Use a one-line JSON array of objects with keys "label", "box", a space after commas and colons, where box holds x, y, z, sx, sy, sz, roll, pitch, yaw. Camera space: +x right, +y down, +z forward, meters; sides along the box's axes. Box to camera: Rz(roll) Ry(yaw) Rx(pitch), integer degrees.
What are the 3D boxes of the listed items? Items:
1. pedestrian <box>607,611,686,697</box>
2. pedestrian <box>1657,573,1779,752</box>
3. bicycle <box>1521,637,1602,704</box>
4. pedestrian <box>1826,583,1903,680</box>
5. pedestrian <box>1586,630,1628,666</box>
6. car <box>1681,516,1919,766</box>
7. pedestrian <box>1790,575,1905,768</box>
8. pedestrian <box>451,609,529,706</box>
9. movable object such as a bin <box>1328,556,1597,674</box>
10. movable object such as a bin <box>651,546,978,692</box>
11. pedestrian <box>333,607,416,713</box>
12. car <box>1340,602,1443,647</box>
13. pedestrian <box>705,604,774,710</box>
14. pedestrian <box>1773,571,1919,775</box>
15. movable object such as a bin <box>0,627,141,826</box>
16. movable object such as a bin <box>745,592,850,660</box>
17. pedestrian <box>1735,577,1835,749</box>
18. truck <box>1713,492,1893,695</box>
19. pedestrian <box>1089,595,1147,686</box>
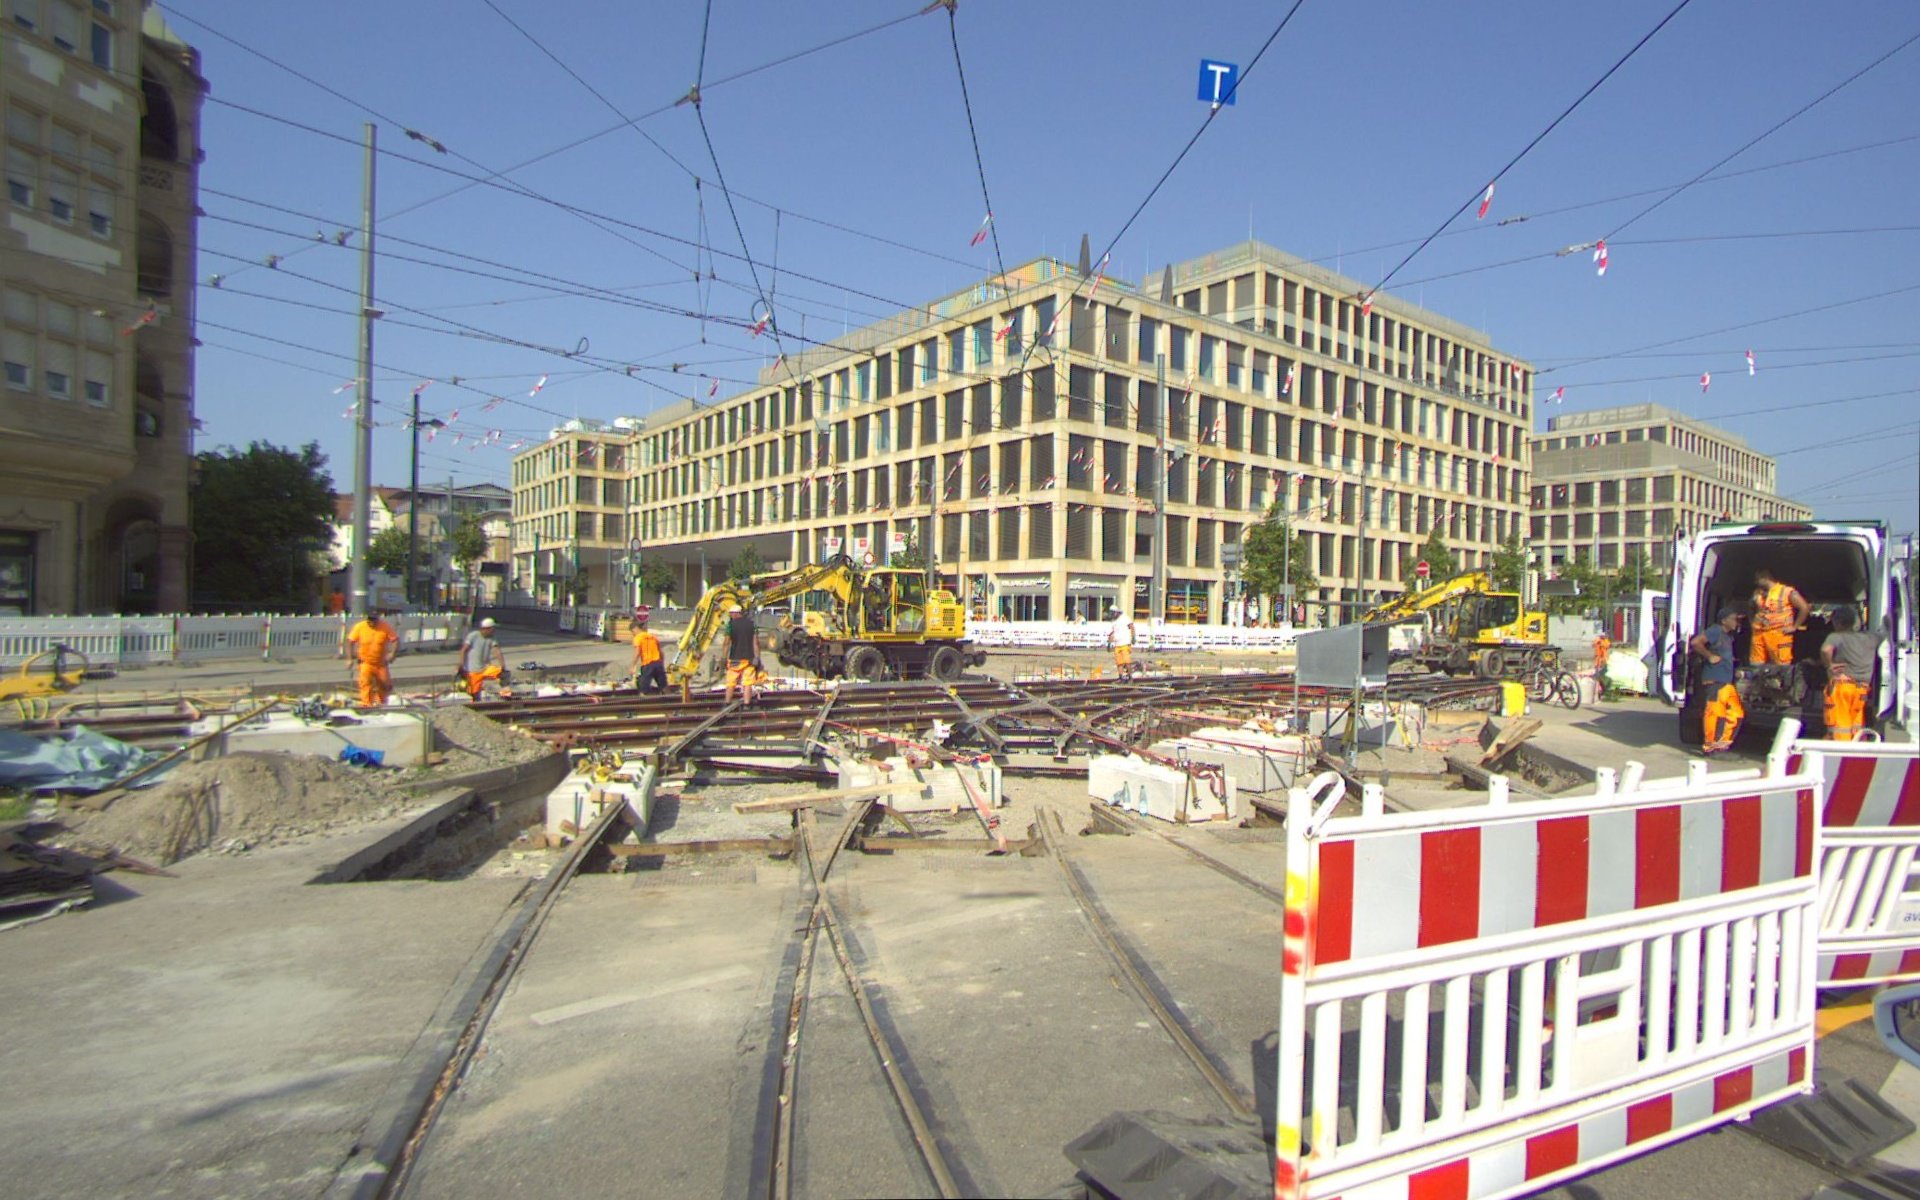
[{"label": "pedestrian", "box": [-5.570, 0.933, 17.837, 1.011, 1.461, 1.134, 2, -1, -37]}, {"label": "pedestrian", "box": [8.926, 0.724, 11.849, 0.890, 2.040, 0.736, 1, -1, -6]}, {"label": "bicycle", "box": [11.131, 1.285, 18.646, 0.605, 1.151, 1.663, 1, -1, 5]}, {"label": "pedestrian", "box": [16.459, 0.570, 18.287, 0.751, 1.716, 0.707, 1, -1, -2]}, {"label": "pedestrian", "box": [24.274, 1.787, 37.685, 0.972, 1.324, 1.009, 1, -1, -34]}, {"label": "car", "box": [11.505, 0.515, 13.789, 2.199, 2.765, 5.145, 0, -1, 40]}, {"label": "pedestrian", "box": [9.855, 0.769, 11.160, 0.897, 2.040, 0.730, 1, -1, -31]}, {"label": "pedestrian", "box": [-7.521, 0.892, 16.058, 0.909, 1.461, 1.134, 2, -1, -37]}, {"label": "movable object such as a bin", "box": [18.625, 0.598, 37.391, 8.887, 4.066, 3.506, 1, -1, -14]}, {"label": "movable object such as a bin", "box": [-3.639, 0.550, 26.712, 8.267, 3.374, 2.826, 2, -1, -37]}, {"label": "pedestrian", "box": [-8.544, 0.847, 14.641, 0.909, 1.461, 1.134, 2, -1, -37]}, {"label": "car", "box": [20.718, 1.173, 48.156, 5.055, 2.057, 1.804, 2, -1, -28]}, {"label": "pedestrian", "box": [-3.467, 0.883, 15.878, 1.002, 1.610, 1.143, 1, -1, -11]}, {"label": "pedestrian", "box": [9.182, 0.740, 10.439, 0.890, 2.040, 0.736, 1, -1, -4]}, {"label": "movable object such as a bin", "box": [-6.478, 0.759, 6.065, 2.265, 1.185, 0.746, 1, -1, -31]}, {"label": "movable object such as a bin", "box": [-7.184, 1.101, 43.902, 2.116, 2.775, 5.570, 2, -1, -38]}, {"label": "pedestrian", "box": [10.233, 0.764, 12.465, 0.897, 2.040, 0.730, 1, -1, -32]}, {"label": "truck", "box": [18.898, -0.052, 22.305, 2.645, 3.727, 8.166, 0, -1, 43]}, {"label": "pedestrian", "box": [3.433, 0.857, 21.714, 1.000, 1.890, 1.146, 1, -1, 21]}]
